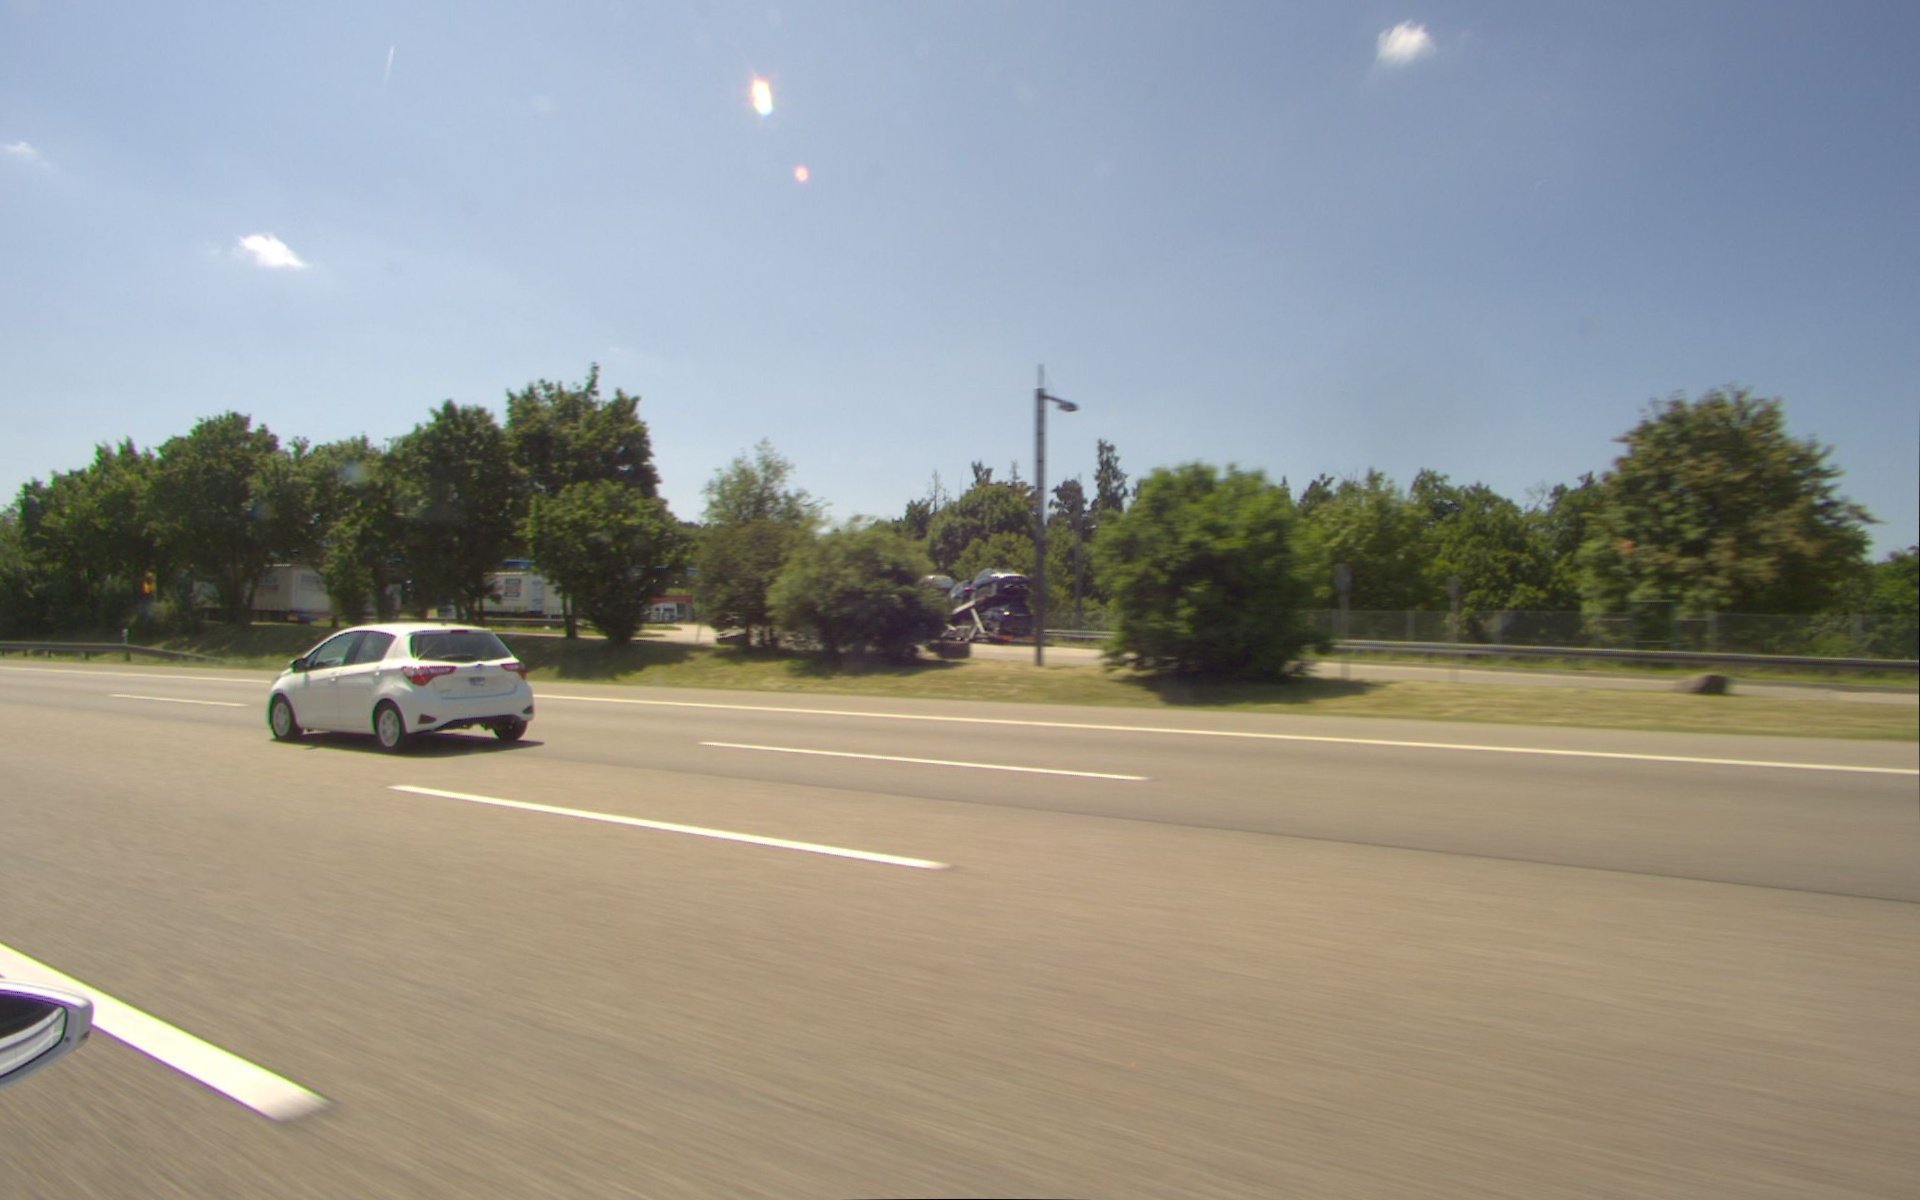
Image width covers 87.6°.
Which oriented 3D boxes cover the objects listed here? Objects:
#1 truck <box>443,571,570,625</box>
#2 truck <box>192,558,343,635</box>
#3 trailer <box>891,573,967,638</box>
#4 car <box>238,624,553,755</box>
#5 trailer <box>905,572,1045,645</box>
[{"bbox_3d":[-32.724,-0.023,72.066,10.404,3.610,3.320,-1,-1,33],"label":"truck"},{"bbox_3d":[-47.710,-0.069,68.676,14.491,4.892,3.319,-1,-1,33],"label":"truck"},{"bbox_3d":[-2.072,0.372,64.428,3.039,3.951,5.945,0,0,-22],"label":"trailer"},{"bbox_3d":[-7.366,1.046,12.956,4.312,1.452,1.664,-1,-2,31],"label":"car"},{"bbox_3d":[0.477,0.458,57.954,3.116,3.685,13.578,0,0,-22],"label":"trailer"}]
